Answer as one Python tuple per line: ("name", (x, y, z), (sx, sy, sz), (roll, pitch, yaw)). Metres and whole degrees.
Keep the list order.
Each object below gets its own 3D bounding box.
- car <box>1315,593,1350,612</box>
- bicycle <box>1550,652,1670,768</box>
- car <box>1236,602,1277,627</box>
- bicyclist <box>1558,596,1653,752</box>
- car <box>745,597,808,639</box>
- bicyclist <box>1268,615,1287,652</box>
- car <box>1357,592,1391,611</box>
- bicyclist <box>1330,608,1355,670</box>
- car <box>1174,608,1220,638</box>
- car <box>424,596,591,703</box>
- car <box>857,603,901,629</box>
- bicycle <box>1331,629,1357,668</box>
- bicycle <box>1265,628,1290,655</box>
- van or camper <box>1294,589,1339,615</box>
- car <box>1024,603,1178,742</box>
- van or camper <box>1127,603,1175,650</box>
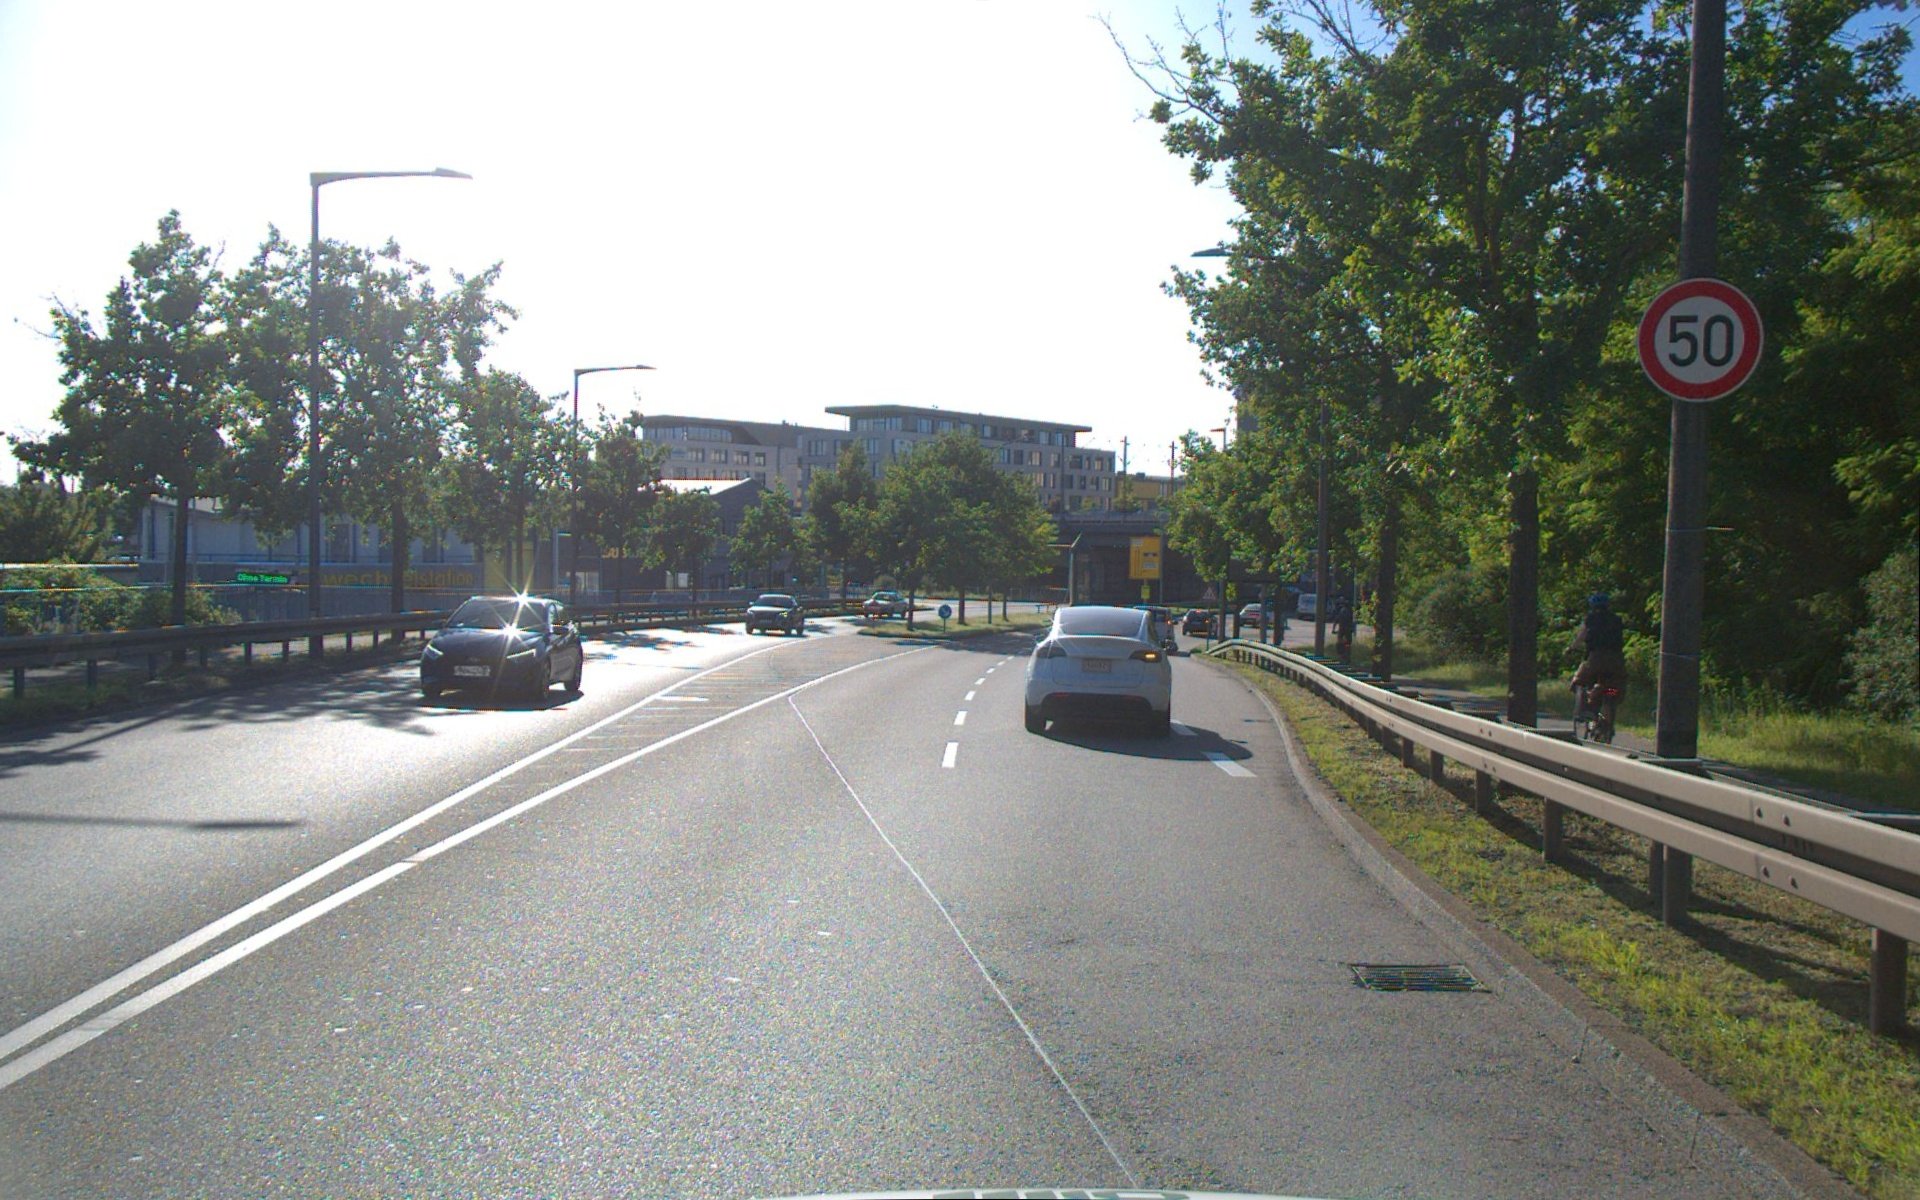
("car", (32.462, 0.192, 144.041), (1.679, 1.549, 3.730), (3, 2, 35))
("bicycle", (6.806, 1.123, 17.412), (0.686, 1.093, 1.922), (0, 0, 6))
("car", (19.596, 0.967, 109.124), (1.728, 1.501, 4.288), (2, 1, 23))
("bicyclist", (6.815, 0.761, 17.500), (0.692, 1.606, 1.005), (0, 0, 6))
("car", (-7.169, 0.694, 65.009), (1.725, 1.515, 4.278), (3, 0, 3))
("bicyclist", (14.530, 1.535, 75.702), (0.730, 1.647, 0.913), (0, 0, 21))
("car", (36.065, 0.162, 144.006), (1.679, 1.549, 3.730), (3, 2, 35))
("bicyclist", (11.369, 1.151, 49.166), (0.661, 1.807, 0.949), (0, 0, 15))
("car", (13.415, 1.293, 93.415), (1.573, 1.459, 3.676), (3, 3, 25))
("car", (-6.728, 0.693, 24.938), (1.631, 1.471, 3.847), (1, 0, -3))
("car", (-4.664, 0.913, 95.667), (1.693, 1.409, 4.500), (3, 0, 7))
("bicycle", (11.518, 1.438, 49.603), (0.680, 1.114, 2.119), (0, 0, 15))
("bicycle", (14.547, 1.895, 75.725), (0.728, 1.132, 2.452), (0, 0, 21))
("van or camper", (26.740, 0.158, 123.981), (1.794, 1.822, 4.532), (3, 2, 33))
("car", (2.009, 0.898, 22.466), (1.873, 1.669, 4.414), (0, 0, 7))
("van or camper", (8.347, 1.105, 72.088), (1.917, 1.917, 4.883), (1, 0, 8))
